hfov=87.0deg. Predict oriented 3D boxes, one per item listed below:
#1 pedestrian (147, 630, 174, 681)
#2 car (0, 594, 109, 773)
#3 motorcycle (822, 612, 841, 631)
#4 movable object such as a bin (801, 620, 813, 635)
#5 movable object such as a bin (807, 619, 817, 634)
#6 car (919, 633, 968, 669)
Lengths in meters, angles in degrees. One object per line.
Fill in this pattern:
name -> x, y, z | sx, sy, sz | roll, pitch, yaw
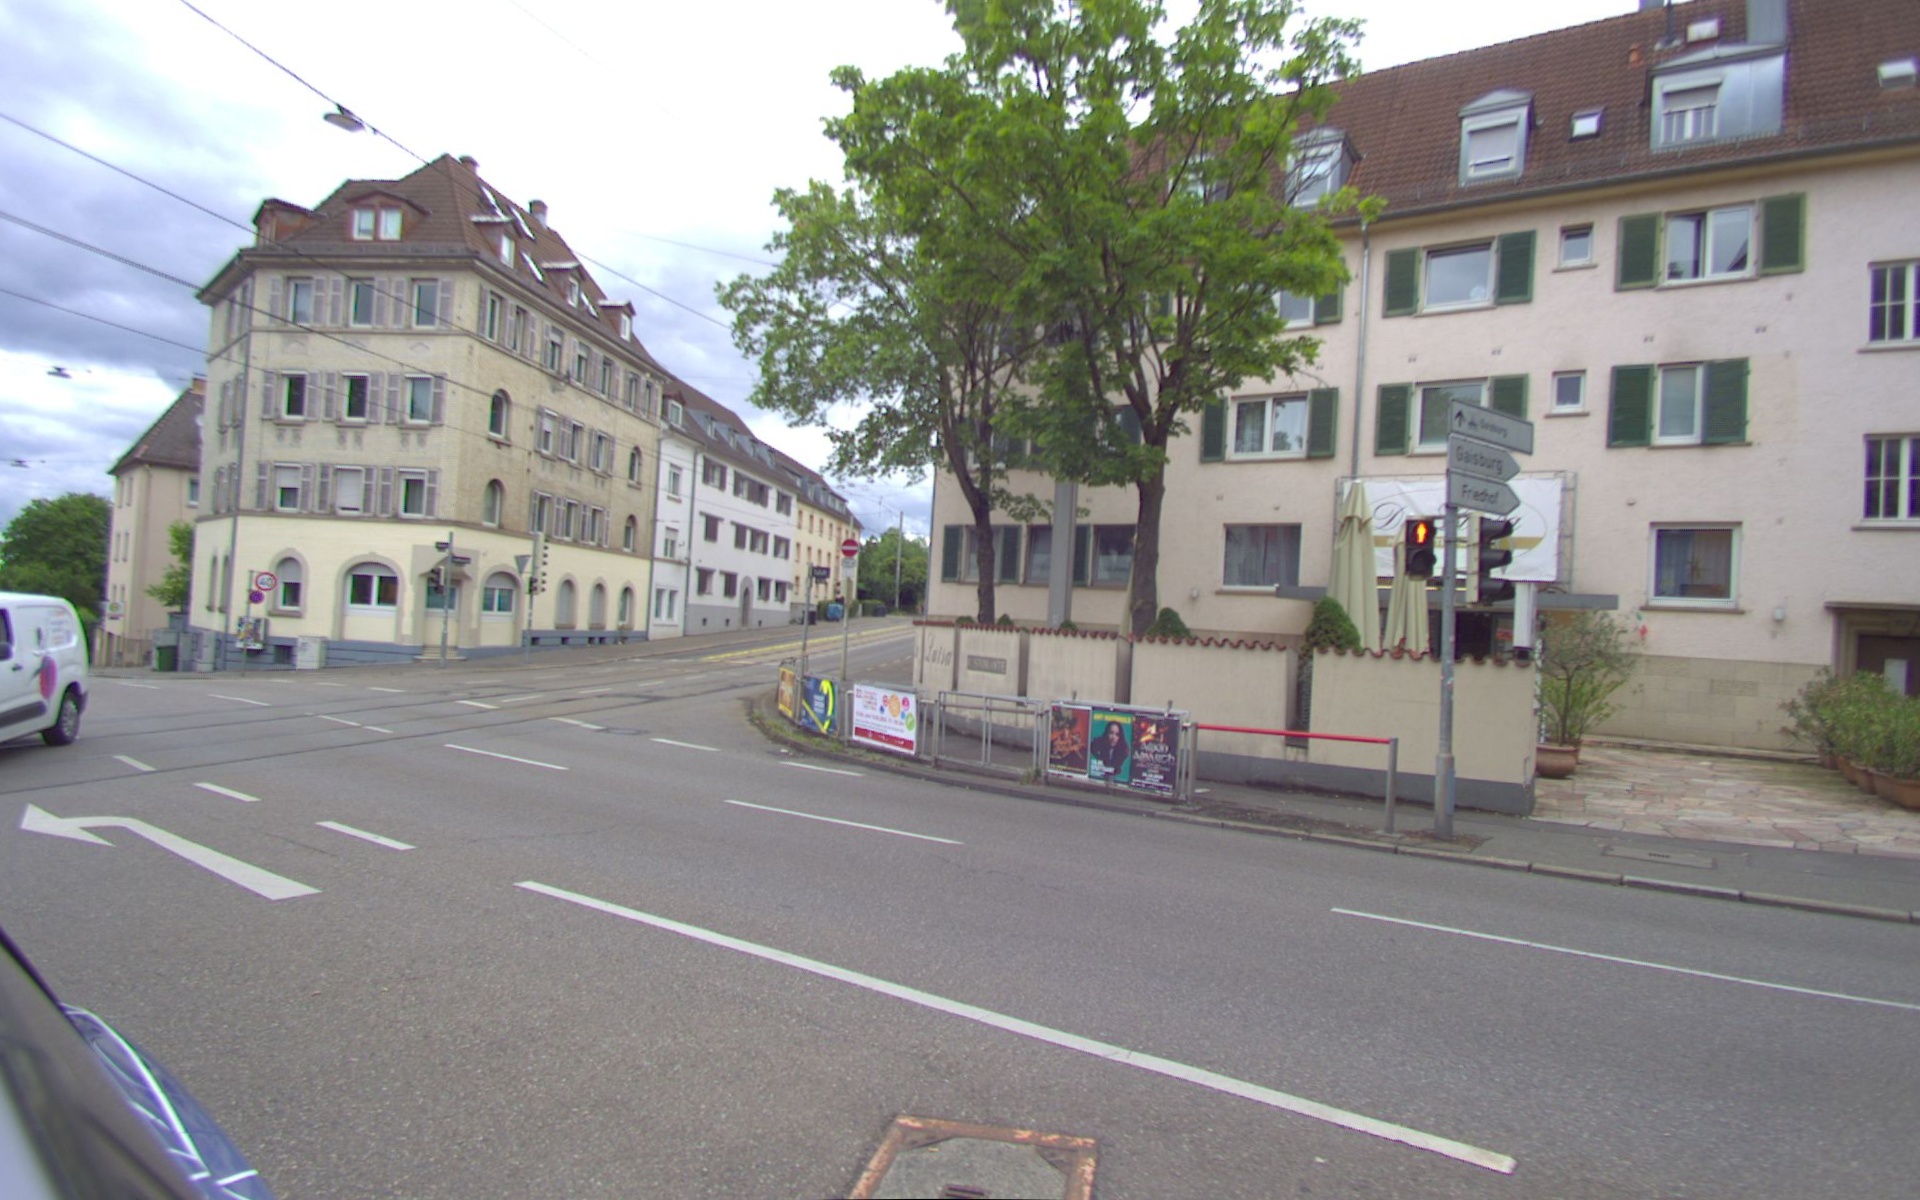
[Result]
pedestrian -> -31.317, 2.176, 39.638 | 0.903, 1.951, 0.736 | -3, -2, 44
car -> -10.968, 0.852, 10.544 | 1.856, 1.852, 4.692 | 2, -2, -23
motorcycle -> -10.172, 1.674, 79.960 | 0.725, 1.400, 1.927 | 6, 0, 14
movable object such as a bin -> -10.883, 1.939, 71.942 | 0.631, 1.017, 0.601 | 5, -1, 8
movable object such as a bin -> -10.648, 1.942, 72.987 | 0.557, 1.017, 0.499 | 5, -1, -1
car -> -0.760, 2.492, 50.277 | 1.770, 1.449, 4.251 | 4, 0, 8
